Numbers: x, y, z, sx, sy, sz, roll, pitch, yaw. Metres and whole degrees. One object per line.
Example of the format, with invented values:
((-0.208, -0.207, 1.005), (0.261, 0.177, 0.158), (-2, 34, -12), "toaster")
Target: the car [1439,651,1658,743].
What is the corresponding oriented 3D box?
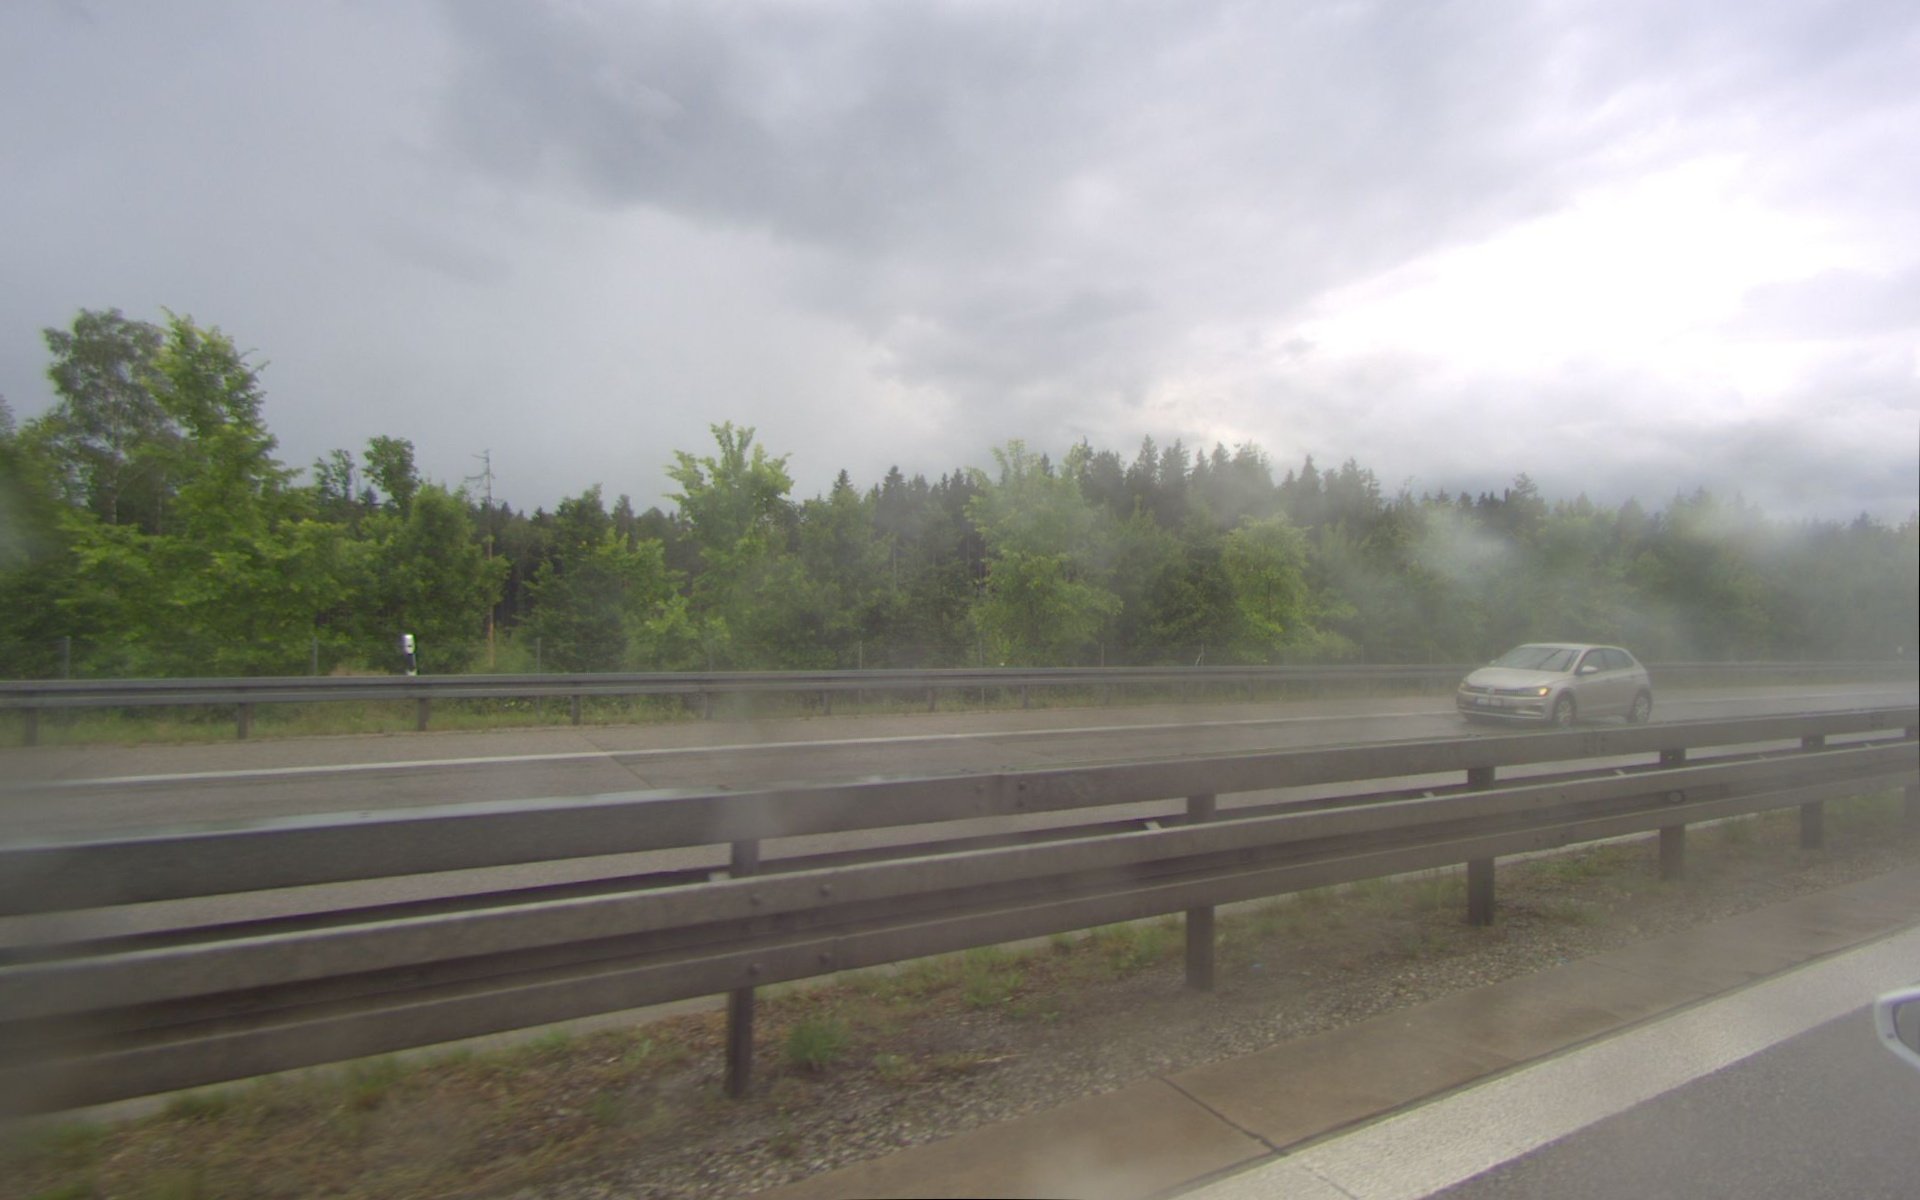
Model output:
((10.597, 1.663, 18.045), (3.872, 1.454, 1.741), (1, -3, -31), "car")
